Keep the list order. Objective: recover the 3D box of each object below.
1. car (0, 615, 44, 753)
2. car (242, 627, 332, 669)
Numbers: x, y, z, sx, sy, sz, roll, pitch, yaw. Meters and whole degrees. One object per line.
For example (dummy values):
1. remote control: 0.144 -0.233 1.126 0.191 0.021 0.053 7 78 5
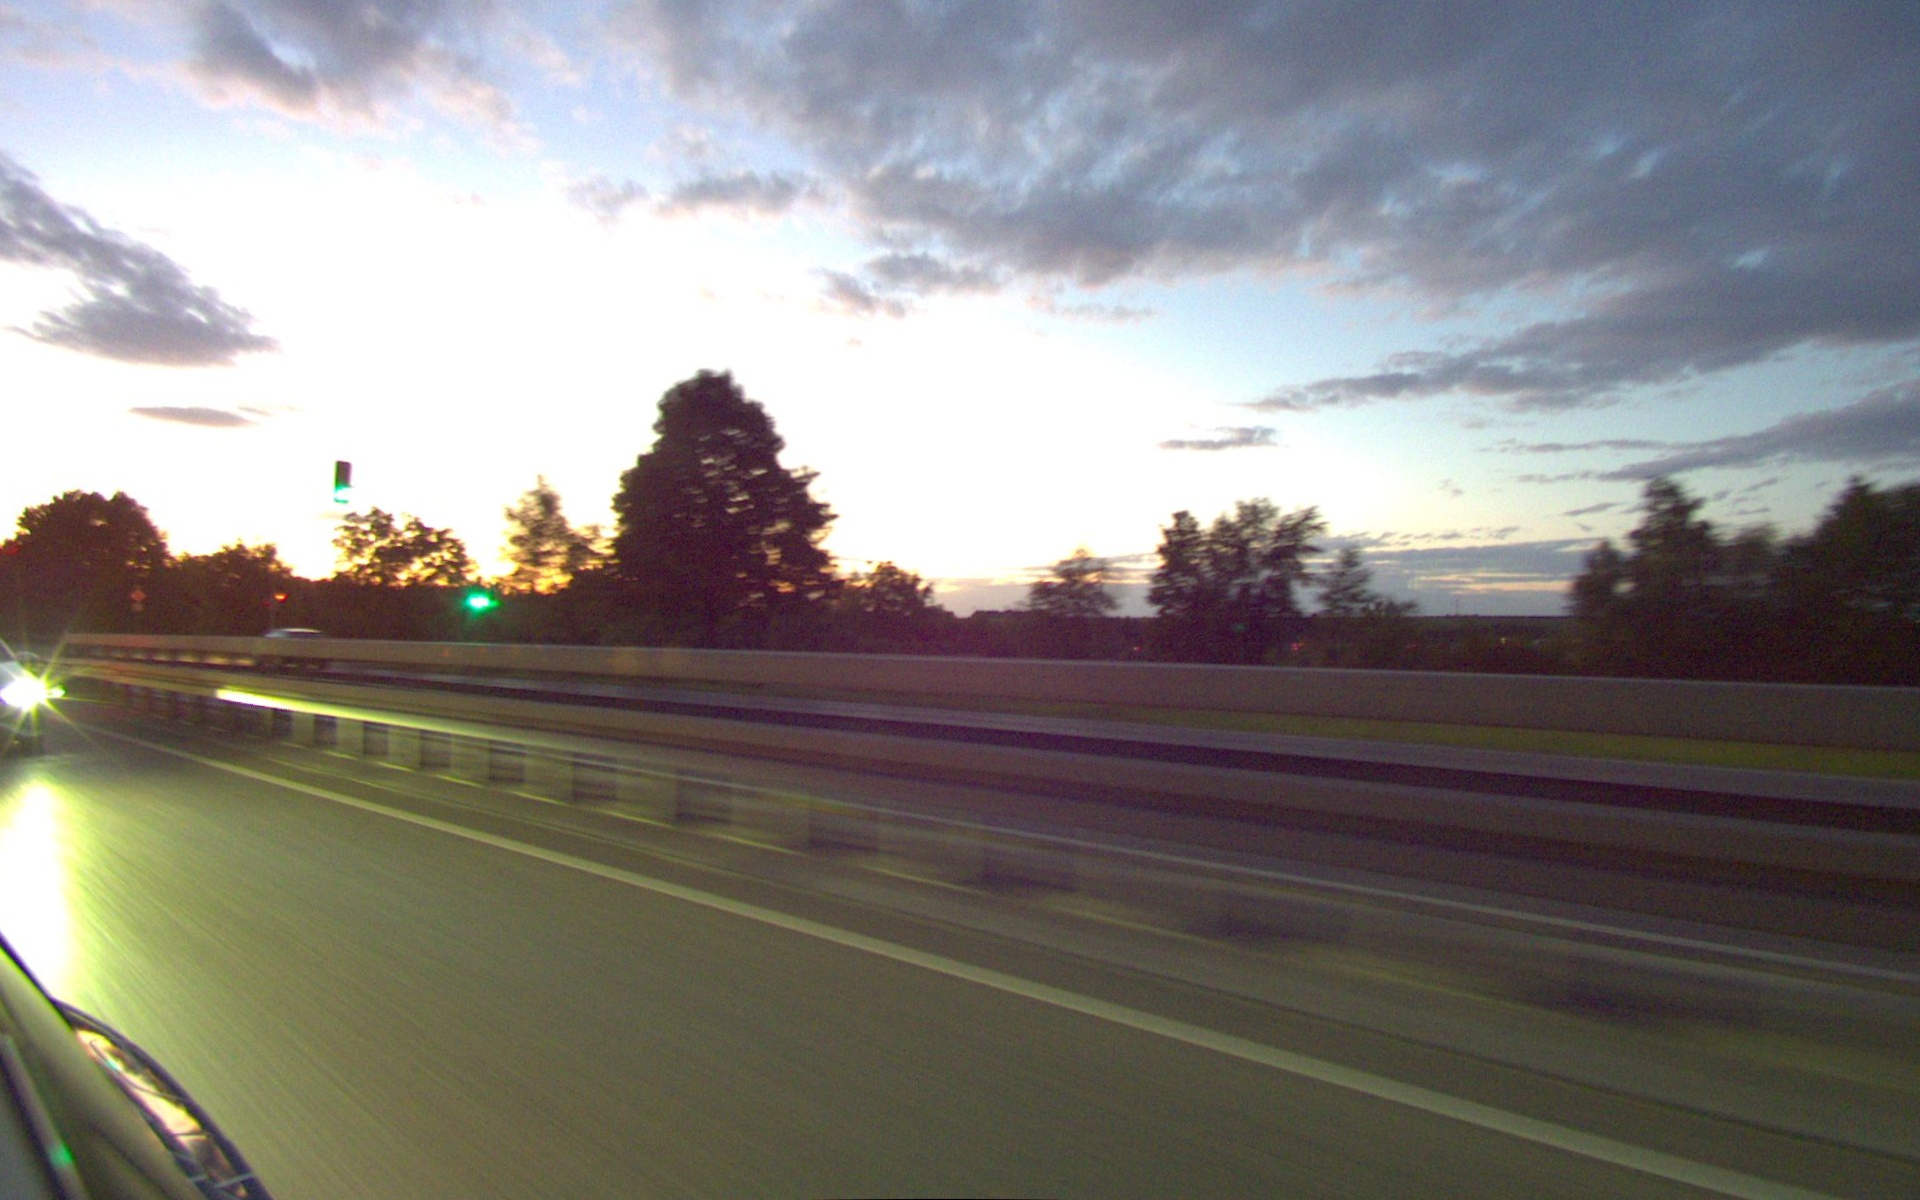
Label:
1. car: -12.218 0.957 11.658 4.641 1.447 1.797 -2 -1 39
2. car: -25.061 1.738 37.649 4.024 1.395 1.636 -1 0 38
